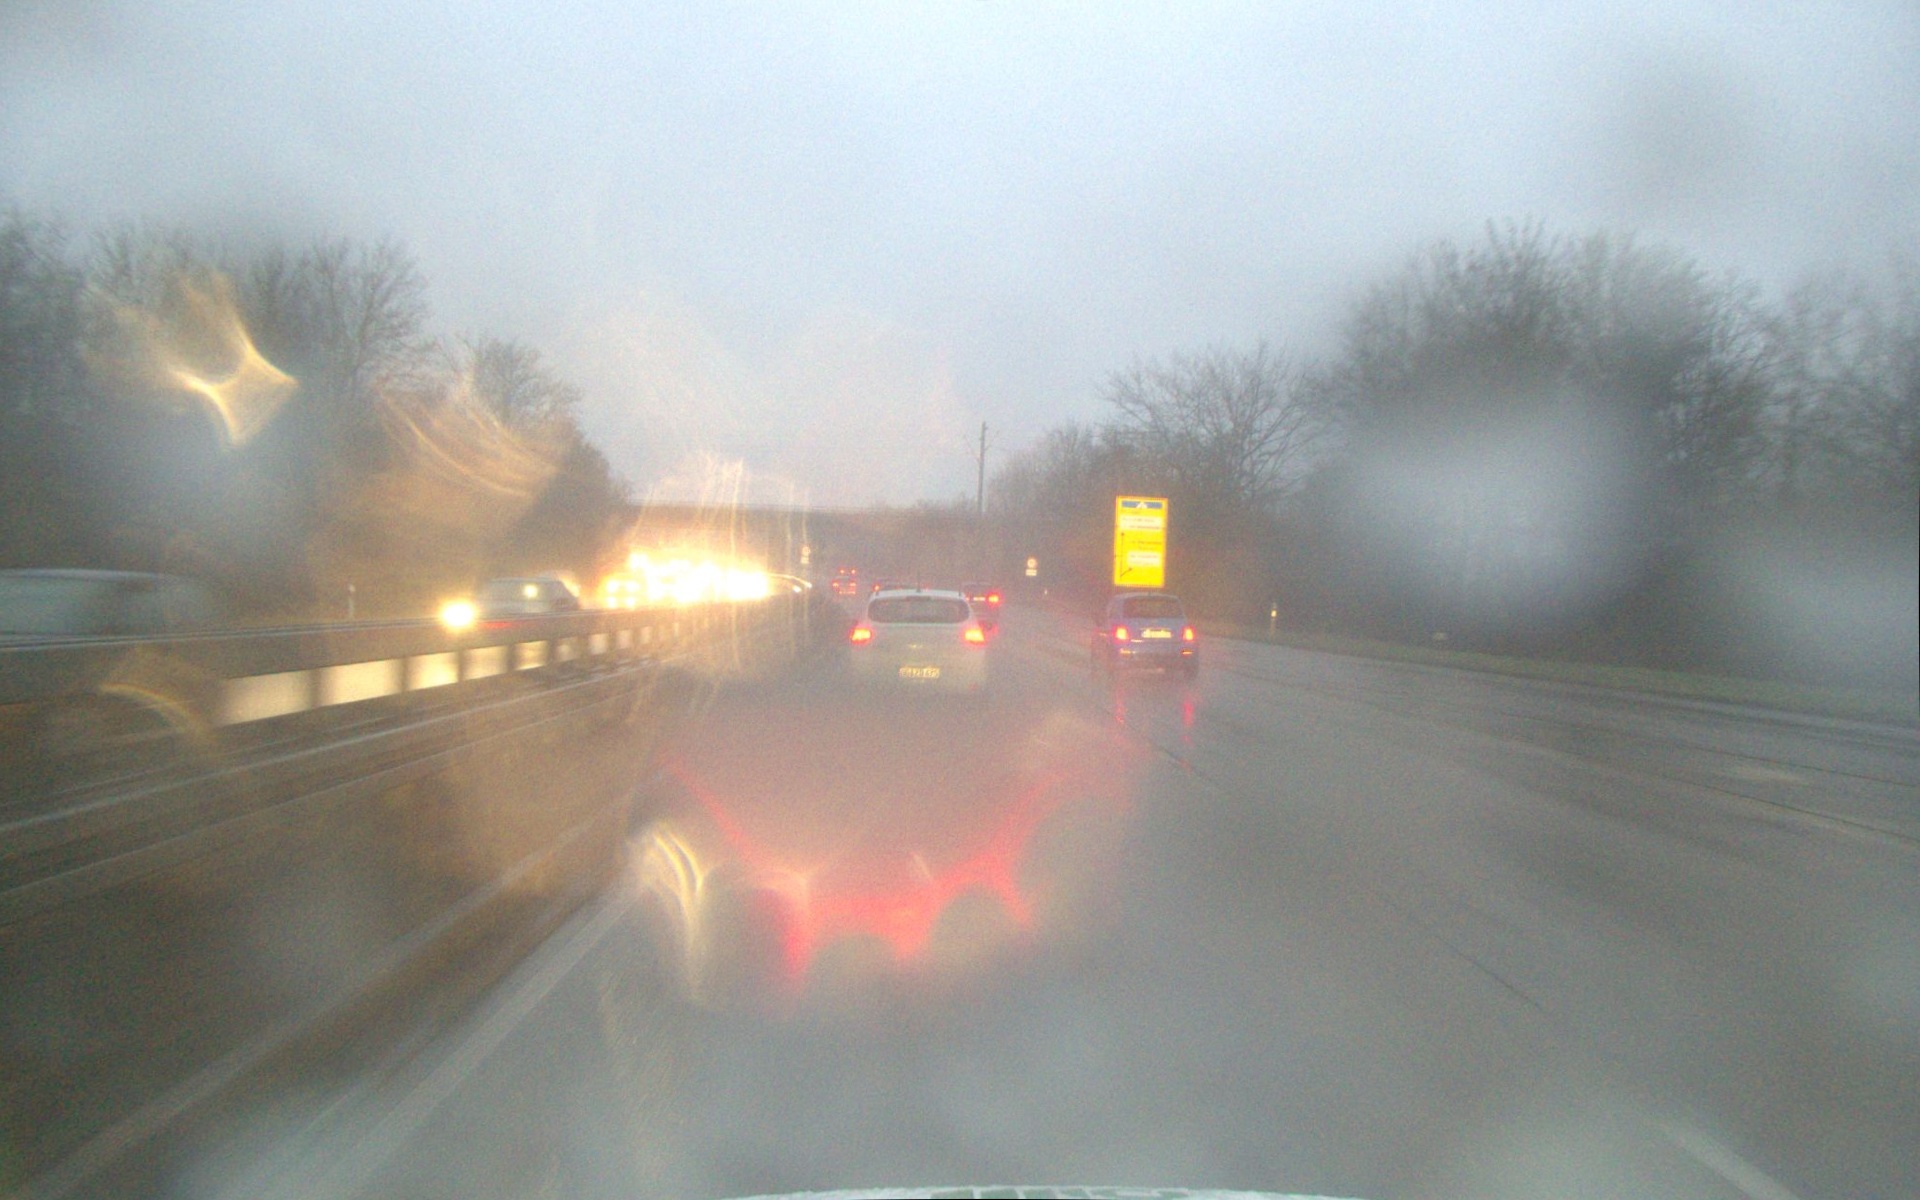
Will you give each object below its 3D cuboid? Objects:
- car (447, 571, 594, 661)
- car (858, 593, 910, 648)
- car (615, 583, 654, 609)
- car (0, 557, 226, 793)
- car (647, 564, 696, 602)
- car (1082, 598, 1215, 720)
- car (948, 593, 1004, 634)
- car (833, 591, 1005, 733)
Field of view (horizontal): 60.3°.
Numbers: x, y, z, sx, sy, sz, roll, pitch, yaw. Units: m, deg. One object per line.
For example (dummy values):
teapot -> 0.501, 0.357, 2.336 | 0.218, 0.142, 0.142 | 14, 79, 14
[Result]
car -> -8.237, 0.286, 31.334 | 1.747, 1.536, 4.133 | 2, 0, -2
car -> -3.009, 0.793, 66.295 | 1.953, 2.049, 3.998 | 2, 0, -2
car -> -20.330, -0.242, 103.449 | 1.826, 1.566, 4.110 | 2, 0, -3
car -> -7.093, 0.465, 12.383 | 1.620, 1.545, 3.504 | 2, 0, -1
car -> -14.856, -0.852, 85.361 | 1.845, 1.864, 4.784 | 2, 0, -3
car -> 3.421, 1.020, 30.613 | 1.893, 2.054, 3.772 | 2, 0, -1
car -> 0.660, 0.596, 70.911 | 1.896, 1.573, 3.768 | -4, -1, -6
car -> -0.463, 0.733, 21.495 | 1.983, 1.602, 4.000 | 2, 0, 0
